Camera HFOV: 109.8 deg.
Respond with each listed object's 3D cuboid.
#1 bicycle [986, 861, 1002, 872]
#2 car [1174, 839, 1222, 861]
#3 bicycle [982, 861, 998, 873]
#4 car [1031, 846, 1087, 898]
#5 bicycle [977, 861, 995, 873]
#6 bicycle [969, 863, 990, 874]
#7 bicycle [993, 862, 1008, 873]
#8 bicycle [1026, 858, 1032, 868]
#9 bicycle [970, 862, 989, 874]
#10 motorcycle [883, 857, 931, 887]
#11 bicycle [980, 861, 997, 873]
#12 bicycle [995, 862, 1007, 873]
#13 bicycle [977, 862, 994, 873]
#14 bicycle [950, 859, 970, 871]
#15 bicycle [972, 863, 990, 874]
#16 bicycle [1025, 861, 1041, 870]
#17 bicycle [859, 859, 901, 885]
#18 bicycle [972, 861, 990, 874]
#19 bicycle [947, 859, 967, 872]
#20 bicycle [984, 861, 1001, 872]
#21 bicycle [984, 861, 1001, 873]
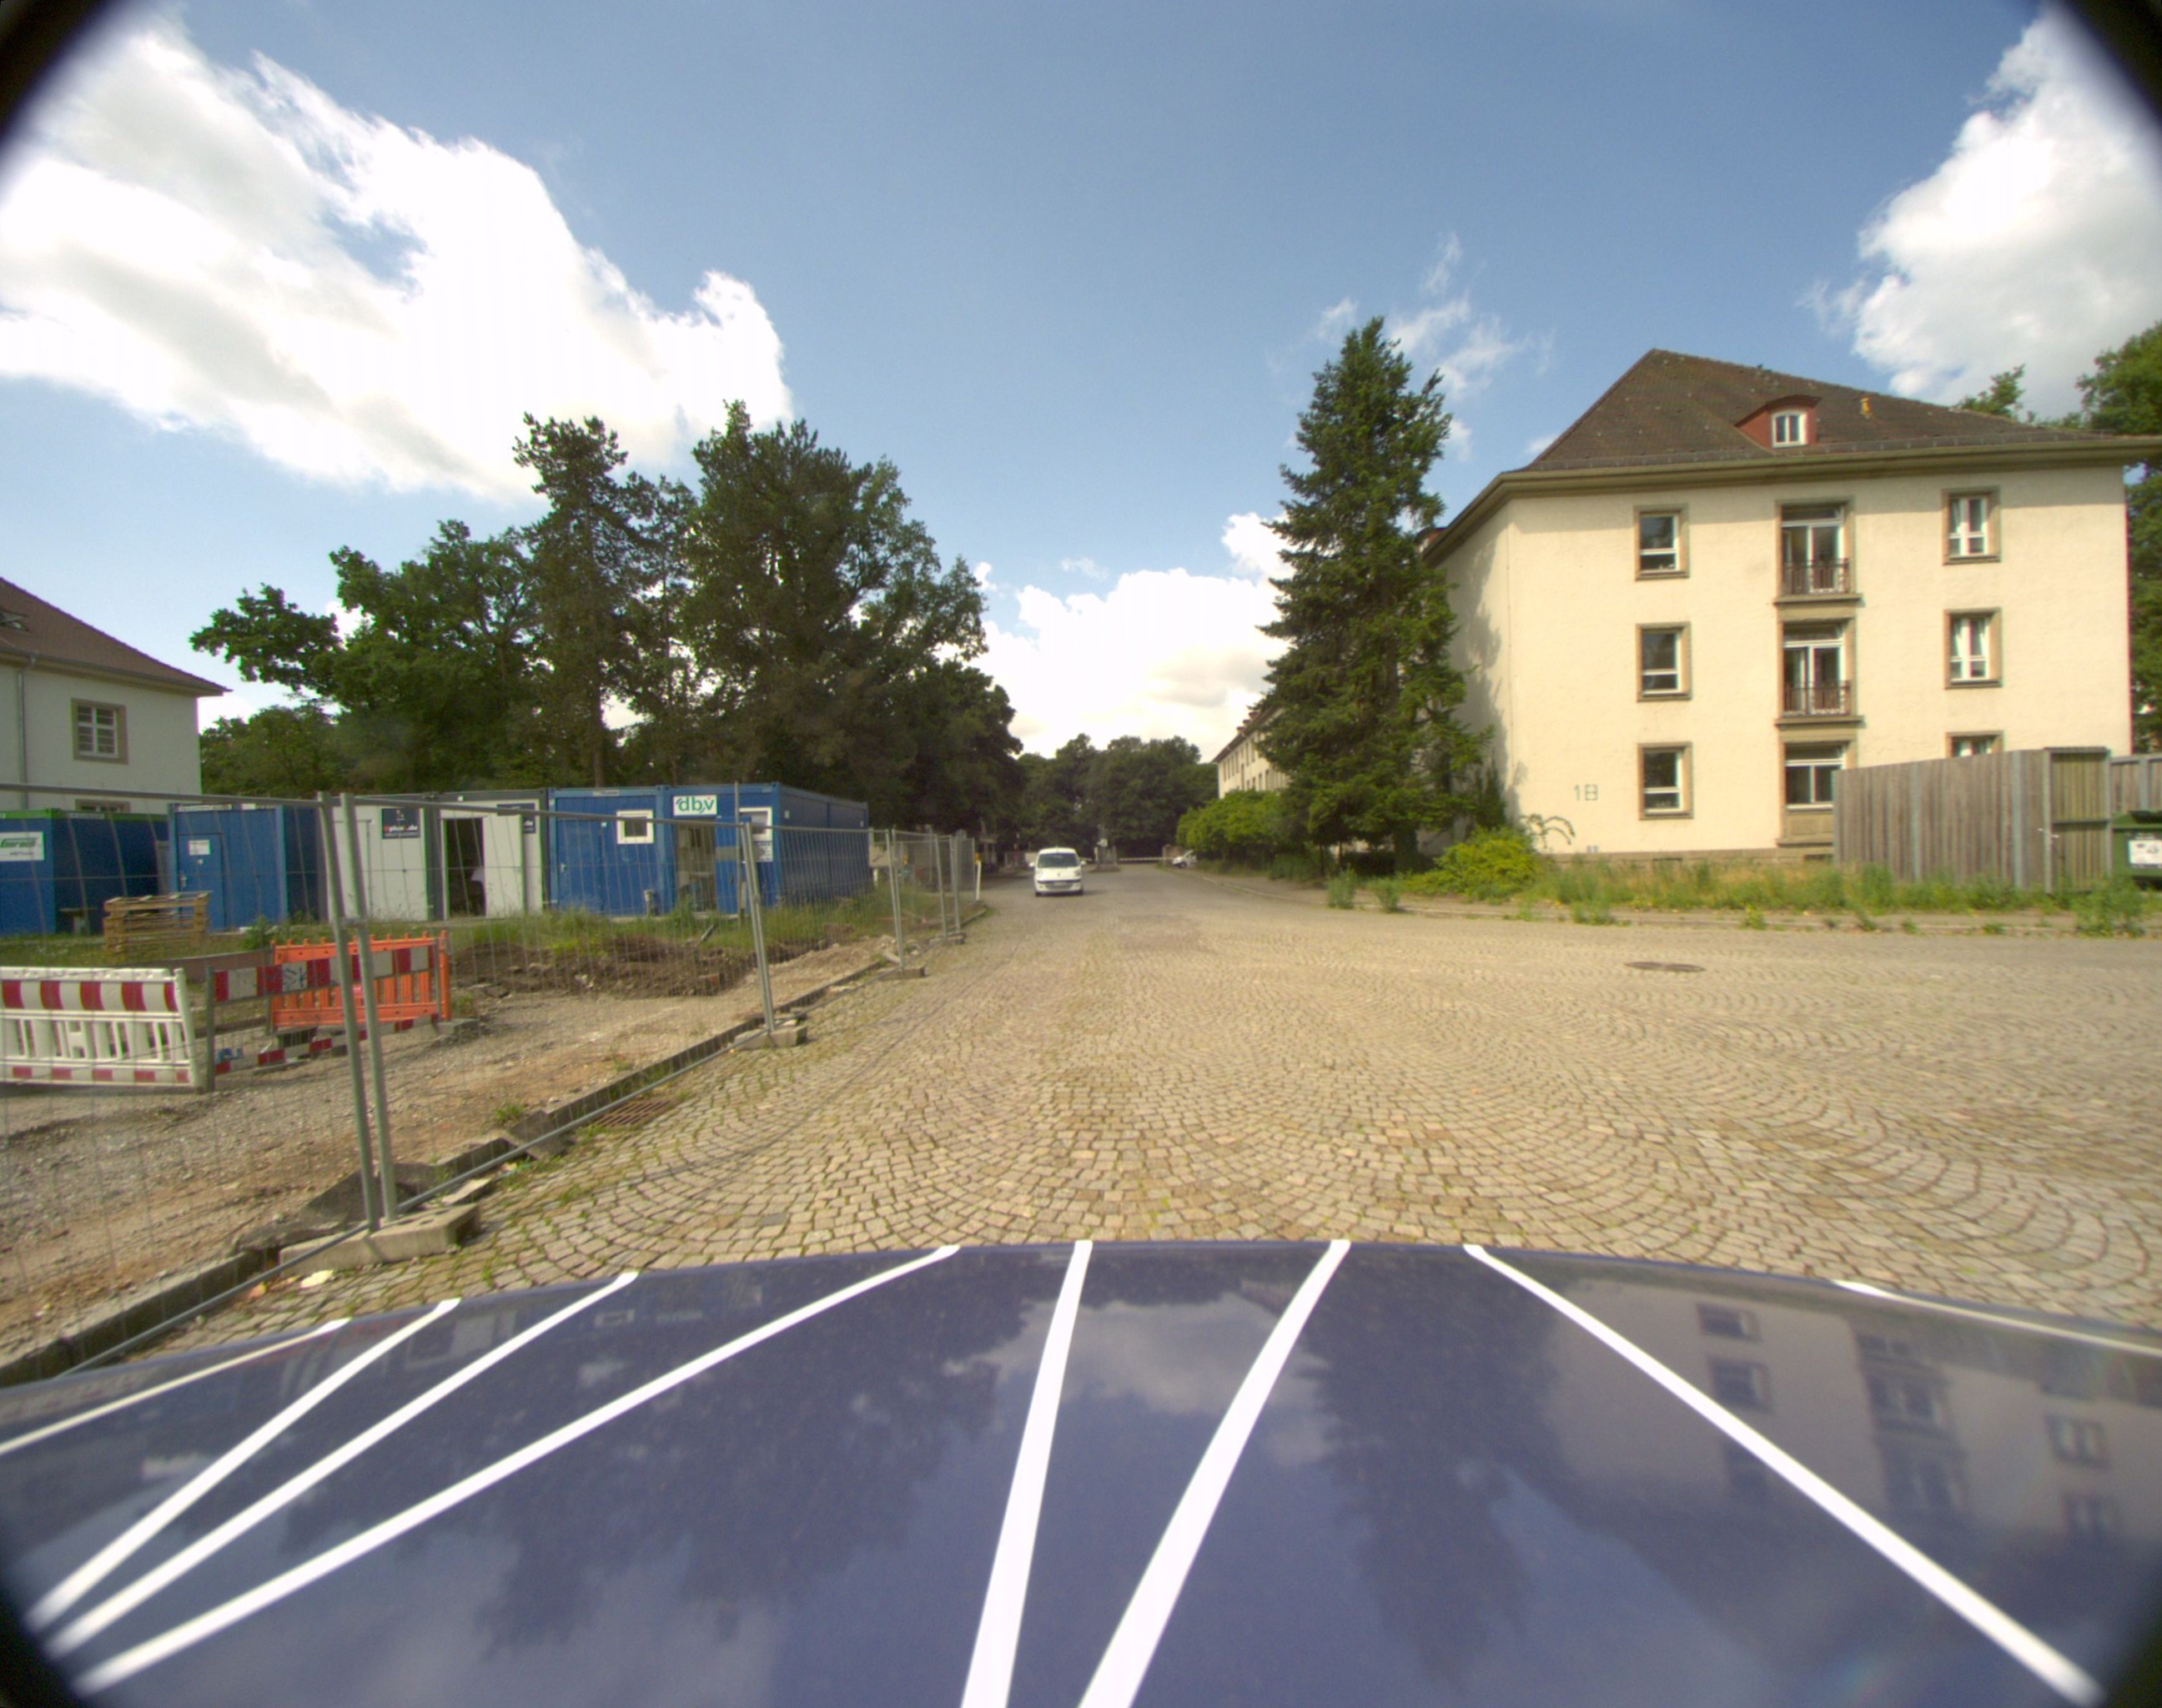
[{"bbox_3d":[-8.877,1.292,77.530,1.617,1.134,0.356,0,0,-5],"label":"bicycle"},{"bbox_3d":[11.495,-0.390,74.670,4.311,1.796,1.820,-4,1,0],"label":"car"},{"bbox_3d":[-9.041,1.301,75.607,1.617,1.134,0.325,0,0,-5],"label":"bicycle"},{"bbox_3d":[-0.802,0.647,29.119,1.867,1.749,4.149,-4,0,0],"label":"car"},{"bbox_3d":[-9.201,1.237,73.472,1.635,1.183,0.498,0,0,-10],"label":"bicycle"},{"bbox_3d":[-9.318,1.310,69.754,1.749,0.970,0.757,0,0,-28],"label":"bicycle"},{"bbox_3d":[-8.318,1.402,78.581,1.407,1.040,0.338,-2,1,-24],"label":"bicycle"},{"bbox_3d":[-5.754,0.942,83.736,0.474,1.051,1.733,-1,0,3],"label":"bicycle"},{"bbox_3d":[-9.189,1.261,68.969,1.682,1.102,0.338,0,0,-11],"label":"bicycle"},{"bbox_3d":[-8.947,0.926,39.093,2.283,1.476,0.757,-1,0,-3],"label":"motorcycle"},{"bbox_3d":[-9.102,1.308,74.943,1.596,1.134,0.325,0,0,-5],"label":"bicycle"},{"bbox_3d":[-8.255,1.381,78.133,1.154,1.056,0.286,-2,1,-19],"label":"bicycle"},{"bbox_3d":[-9.312,1.325,74.042,1.635,1.044,0.334,0,0,-12],"label":"bicycle"},{"bbox_3d":[-11.172,1.033,70.398,1.745,1.158,0.608,0,0,-2],"label":"bicycle"},{"bbox_3d":[-9.254,1.315,70.484,1.637,0.970,0.322,0,0,-28],"label":"bicycle"},{"bbox_3d":[-5.446,1.296,86.368,1.867,0.934,0.503,-1,0,-2],"label":"bicycle"},{"bbox_3d":[-9.651,0.855,36.526,1.900,1.190,0.657,-1,0,22],"label":"bicycle"},{"bbox_3d":[-9.388,1.226,71.133,1.635,1.183,0.473,0,0,-11],"label":"bicycle"},{"bbox_3d":[-11.344,1.048,69.375,1.745,1.158,0.608,0,0,-2],"label":"bicycle"},{"bbox_3d":[-8.903,1.287,76.403,1.617,1.134,0.325,0,0,-5],"label":"bicycle"},{"bbox_3d":[-8.949,1.300,76.877,1.617,1.134,0.356,0,0,-5],"label":"bicycle"}]
